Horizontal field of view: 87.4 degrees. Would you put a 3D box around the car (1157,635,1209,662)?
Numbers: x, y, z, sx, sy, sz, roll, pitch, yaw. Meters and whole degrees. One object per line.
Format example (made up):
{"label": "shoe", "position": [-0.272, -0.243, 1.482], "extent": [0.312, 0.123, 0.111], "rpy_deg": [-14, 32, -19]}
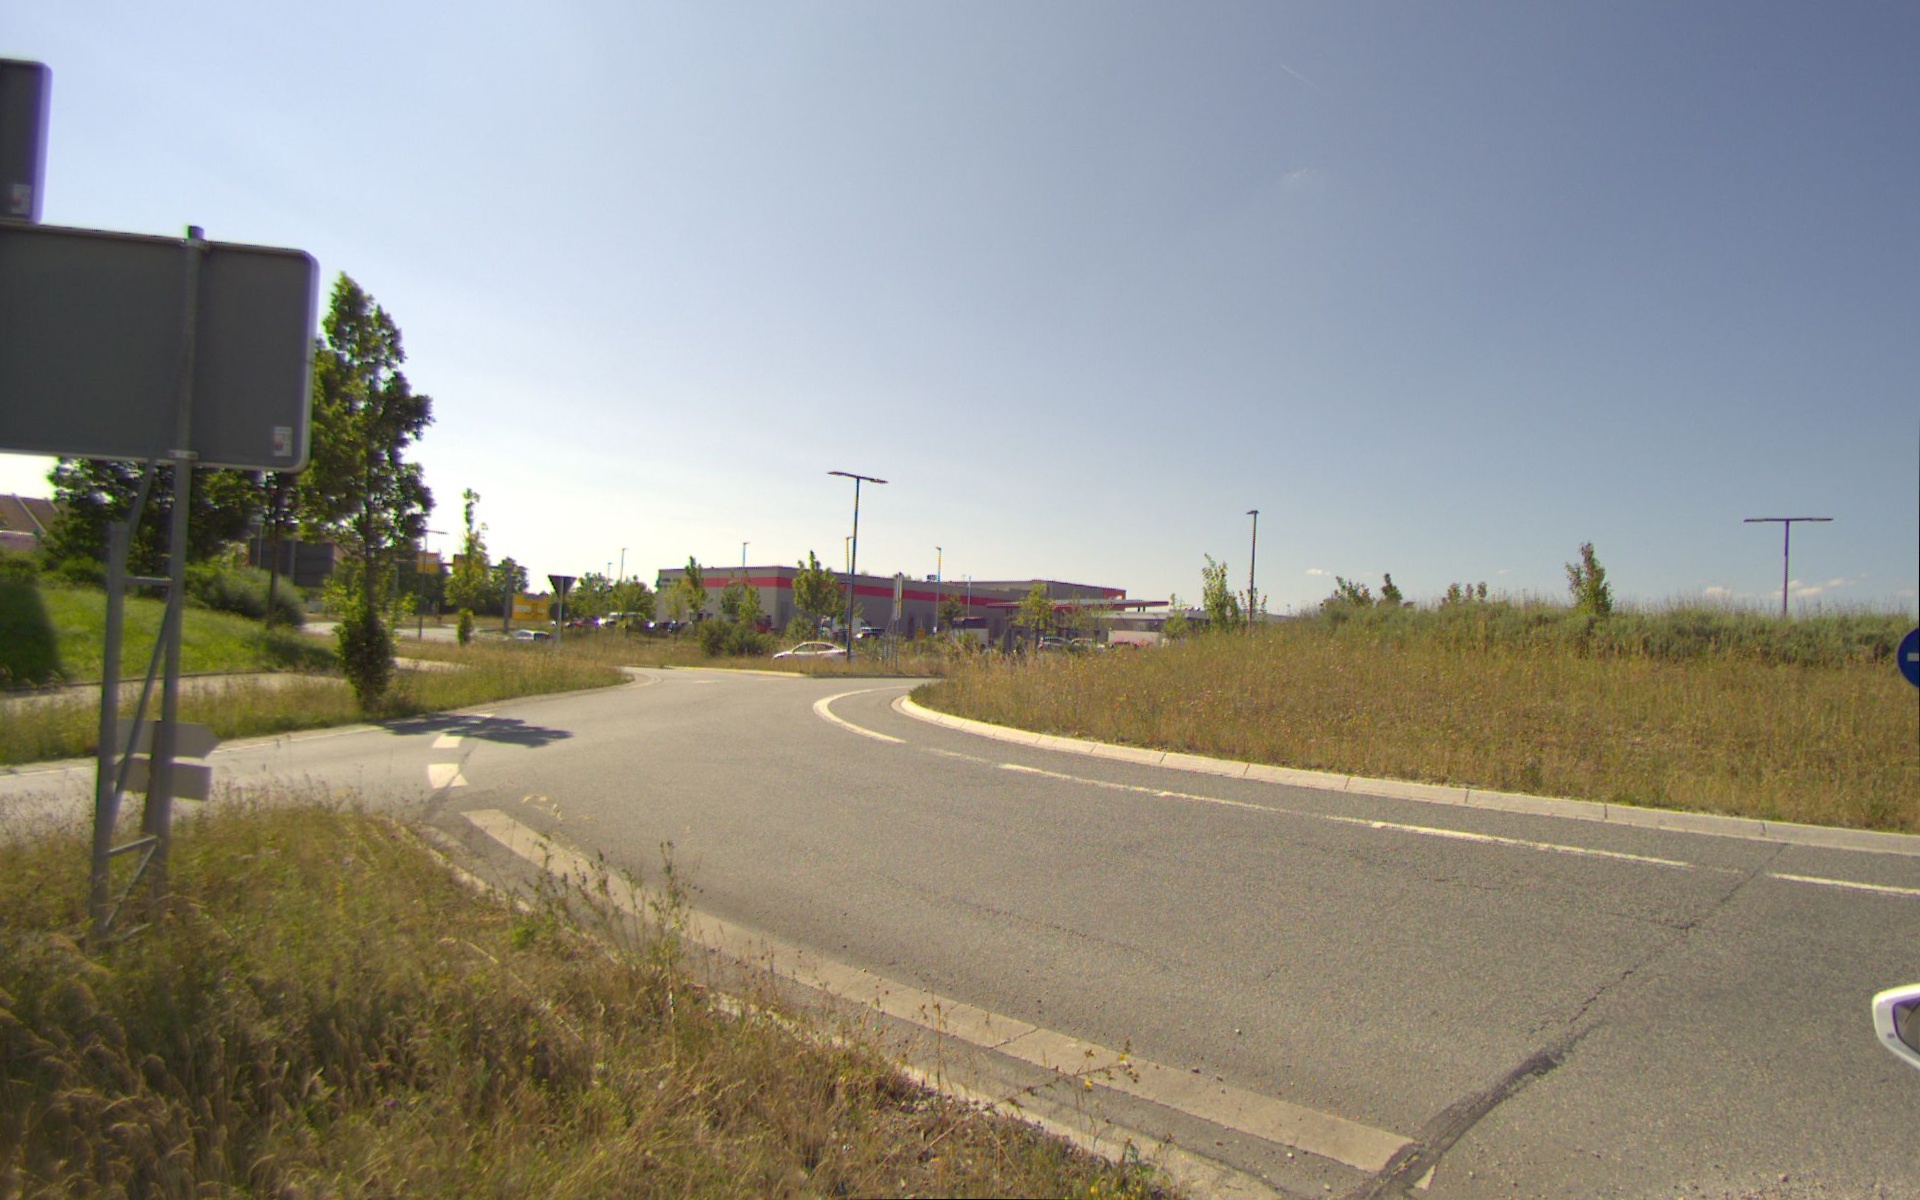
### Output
{"label": "car", "position": [18.900, 4.090, 85.050], "extent": [1.972, 2.040, 5.108], "rpy_deg": [1, -3, 43]}

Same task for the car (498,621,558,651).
{"label": "car", "position": [-27.928, 2.314, 64.959], "extent": [3.703, 1.795, 1.689], "rpy_deg": [1, -3, 33]}

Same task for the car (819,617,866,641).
{"label": "car", "position": [-10.830, 2.714, 92.791], "extent": [1.971, 2.040, 3.979], "rpy_deg": [1, -3, 42]}

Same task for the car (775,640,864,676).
{"label": "car", "position": [-7.203, 2.970, 51.562], "extent": [4.194, 1.594, 1.727], "rpy_deg": [2, -2, 22]}
